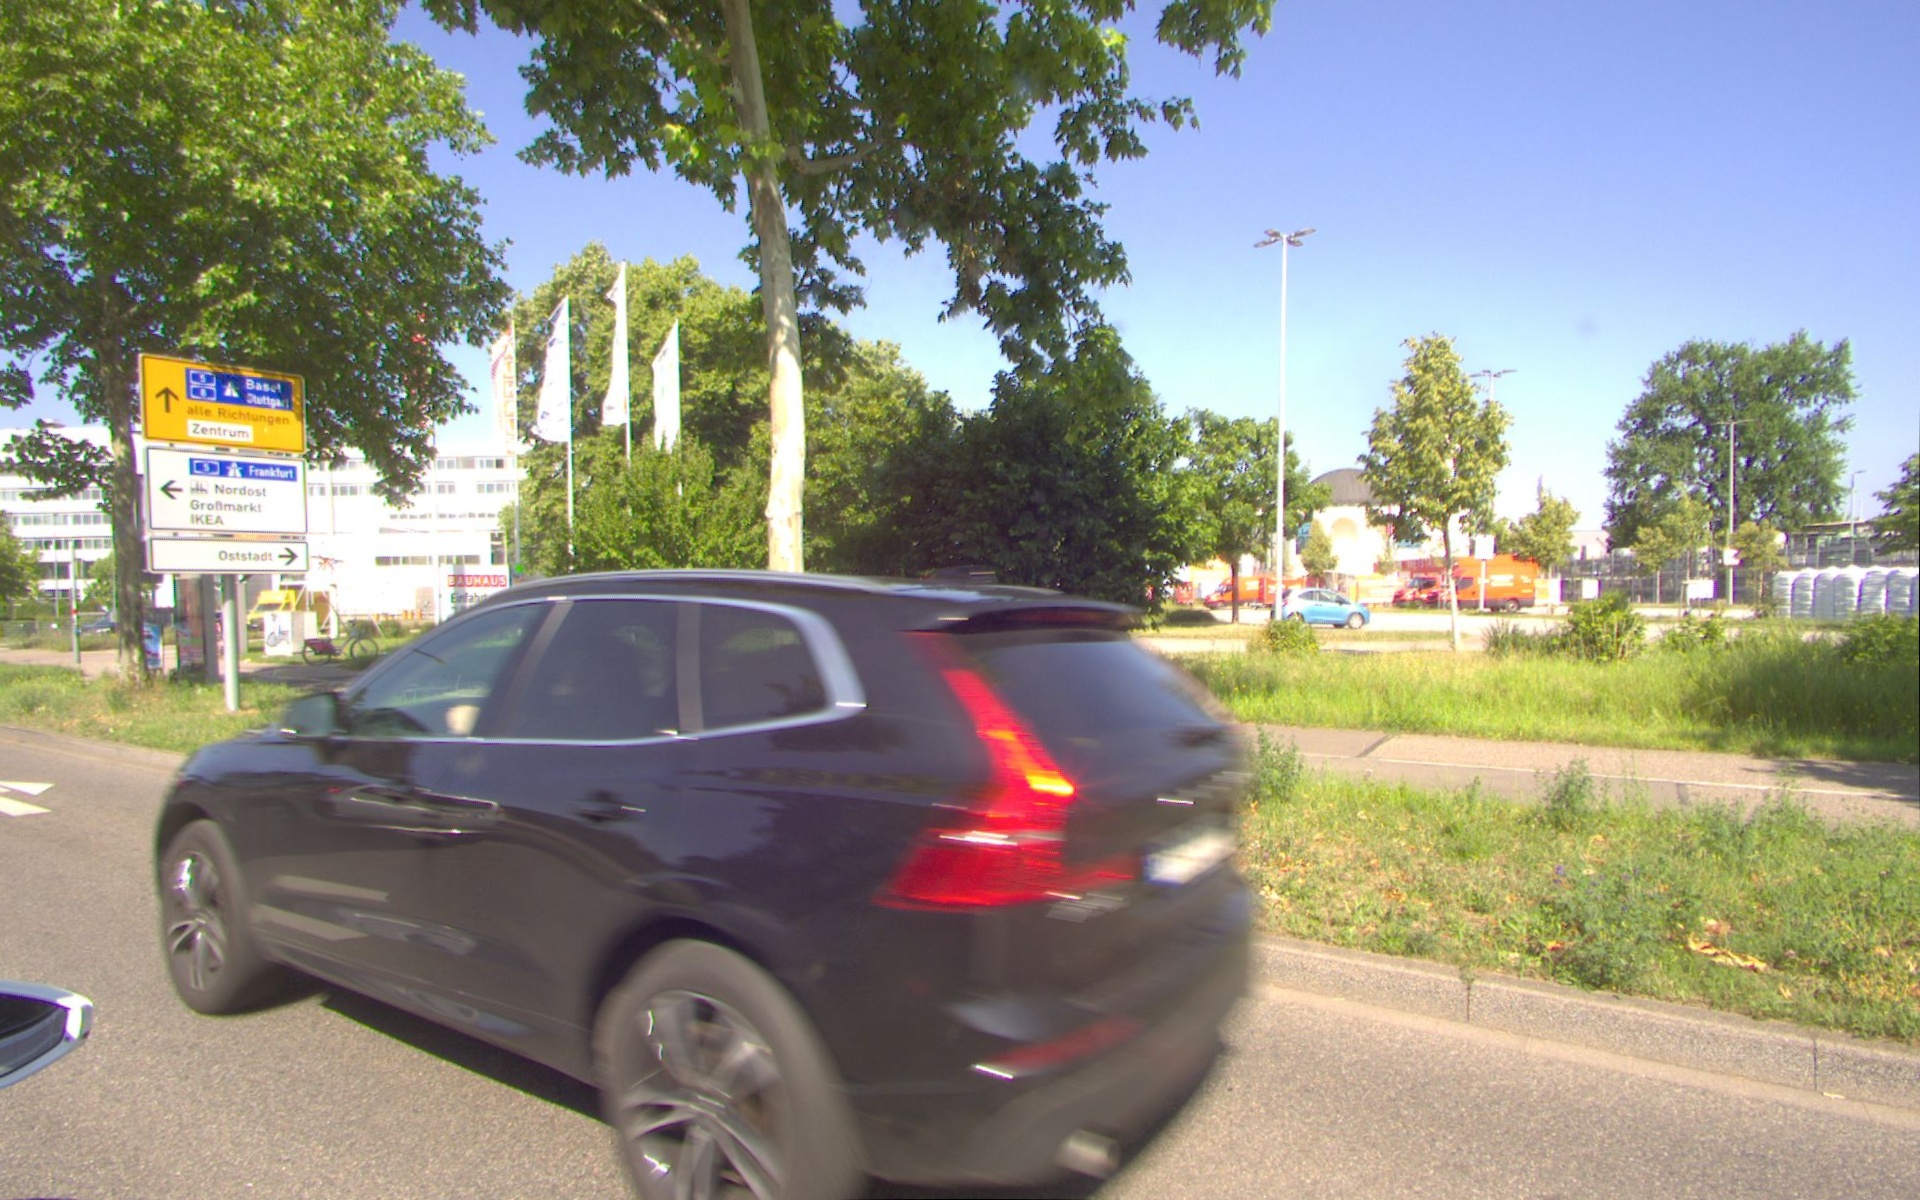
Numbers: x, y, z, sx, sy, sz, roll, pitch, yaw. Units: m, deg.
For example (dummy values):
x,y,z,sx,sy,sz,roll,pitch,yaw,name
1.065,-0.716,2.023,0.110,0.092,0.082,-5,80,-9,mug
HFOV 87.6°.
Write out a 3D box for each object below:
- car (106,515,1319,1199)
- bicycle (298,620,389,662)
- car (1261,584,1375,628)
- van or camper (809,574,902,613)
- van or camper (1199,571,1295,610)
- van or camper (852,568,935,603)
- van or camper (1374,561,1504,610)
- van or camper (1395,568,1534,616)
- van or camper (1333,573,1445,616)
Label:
x,y,z,sx,sy,sz,roll,pitch,yaw,name
-1.143,0.731,3.710,4.371,1.611,1.872,-1,-2,32,car
-16.335,1.058,26.568,1.985,1.027,0.615,-1,1,-41,bicycle
13.193,0.249,37.047,3.580,1.561,1.753,0,-2,-3,car
-8.120,-0.521,78.359,7.145,2.979,2.001,0,-1,-2,van or camper
22.976,-0.751,80.332,7.145,2.979,2.001,0,-1,-2,van or camper
-5.773,-1.243,87.473,7.145,2.979,2.001,0,-1,-2,van or camper
29.715,-0.878,62.290,7.145,2.979,2.001,0,-1,-2,van or camper
29.439,-0.450,58.538,7.145,2.739,2.001,0,-1,-2,van or camper
30.700,-0.361,71.772,7.145,2.979,2.001,0,-1,-2,van or camper
